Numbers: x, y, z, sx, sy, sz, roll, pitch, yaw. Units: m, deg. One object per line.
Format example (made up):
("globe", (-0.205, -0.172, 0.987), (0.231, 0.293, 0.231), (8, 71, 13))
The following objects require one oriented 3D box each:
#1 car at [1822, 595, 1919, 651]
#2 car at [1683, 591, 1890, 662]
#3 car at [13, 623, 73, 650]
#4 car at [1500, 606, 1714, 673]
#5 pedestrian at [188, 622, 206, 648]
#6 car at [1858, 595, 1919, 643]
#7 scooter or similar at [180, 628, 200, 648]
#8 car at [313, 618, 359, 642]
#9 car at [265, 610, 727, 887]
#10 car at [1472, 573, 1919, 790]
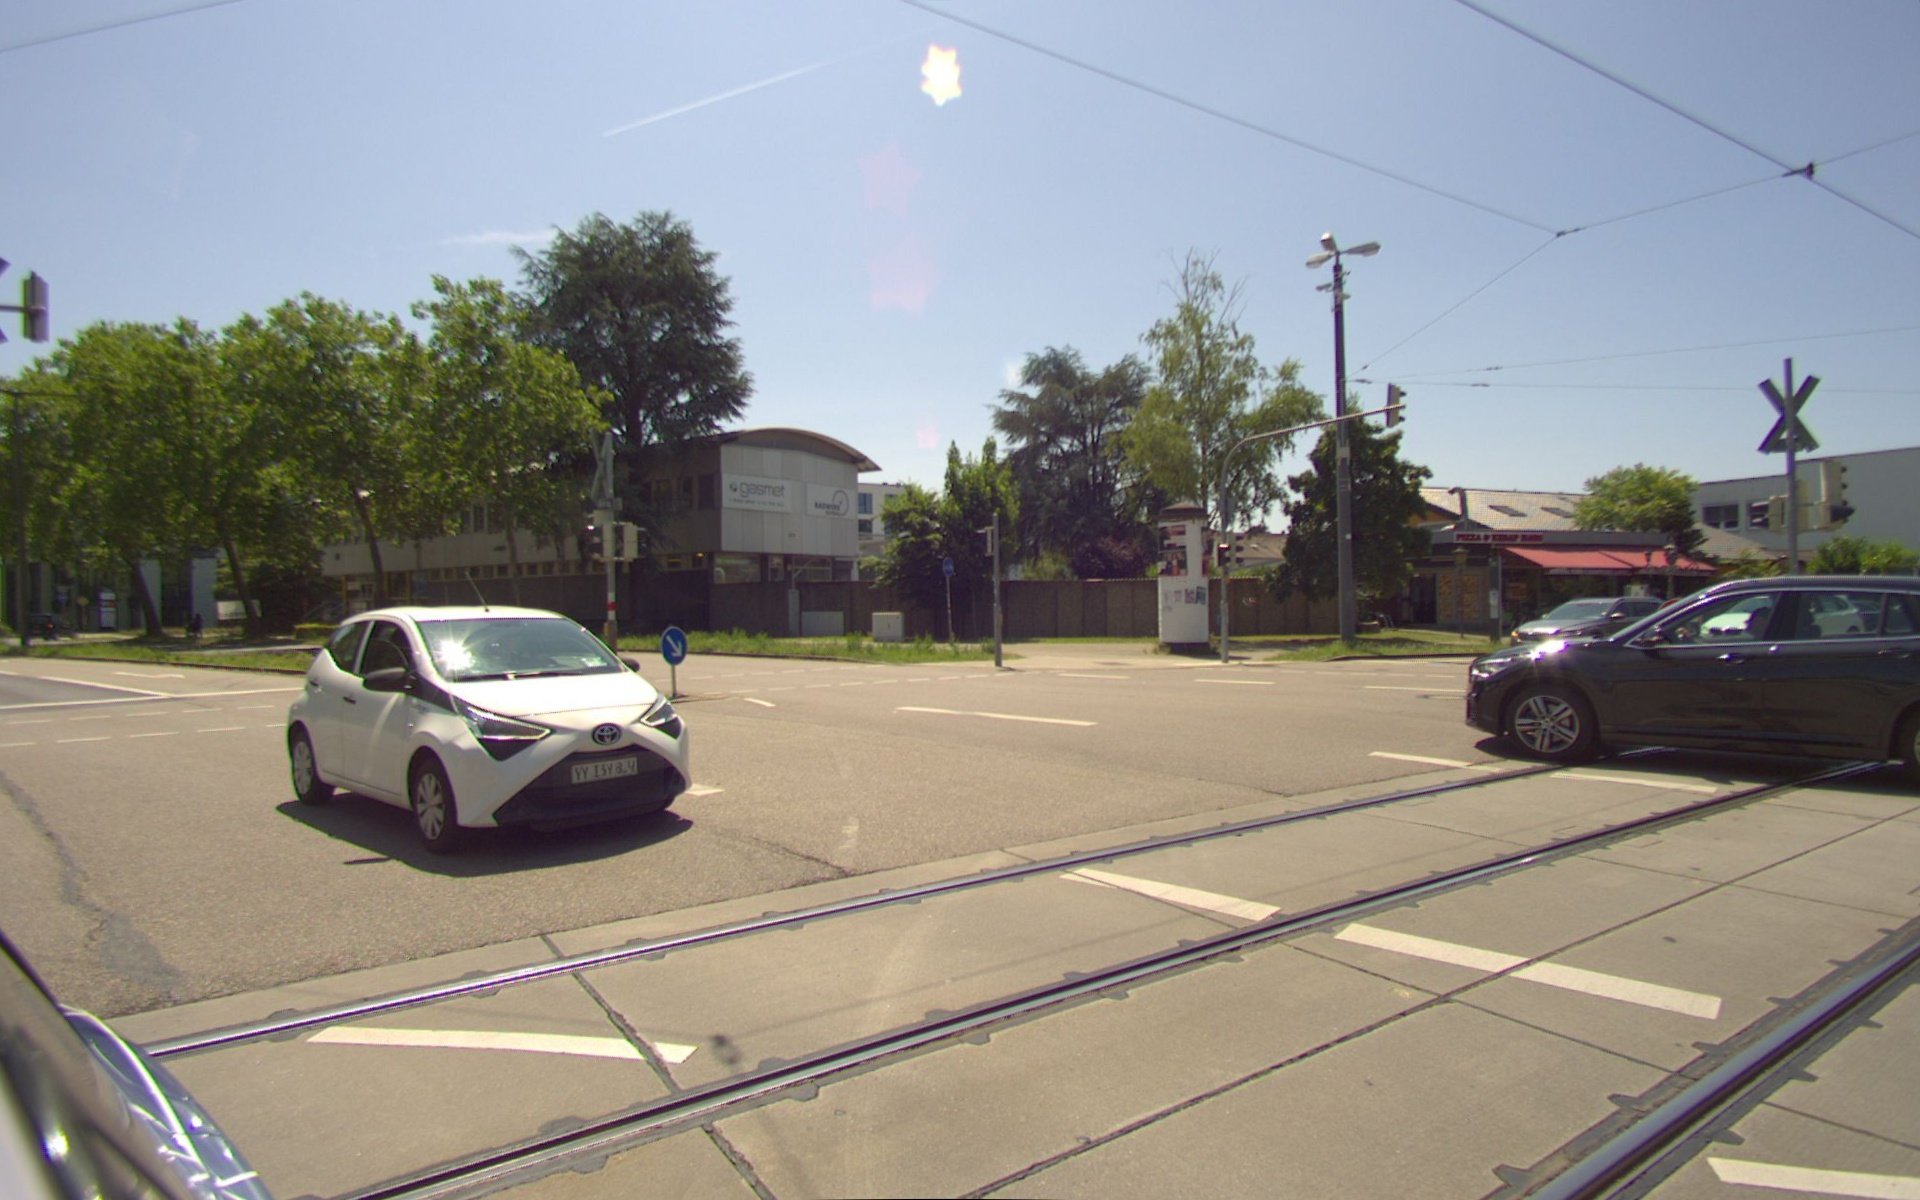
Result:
("car", (28.883, 0.673, 30.315), (4.564, 1.663, 1.761), (-2, -1, 39))
("car", (20.907, 0.636, 25.631), (4.384, 1.617, 2.224), (-1, -1, -23))
("car", (-60.500, 2.388, 66.844), (1.884, 1.692, 4.458), (0, -1, -27))
("car", (15.107, 0.876, 23.639), (4.589, 1.391, 1.894), (0, -1, -22))
("pedestrian", (-46.898, 2.135, 62.184), (0.788, 1.572, 0.637), (-1, -1, 29))
("car", (34.410, 0.658, 35.525), (4.190, 1.663, 1.760), (-1, -1, 40))
("scooter or similar", (-47.627, 2.355, 62.583), (0.855, 1.172, 0.674), (-1, -1, 29))
("car", (-46.603, 2.249, 75.596), (3.522, 1.659, 1.798), (-1, 1, 38))
("car", (-3.429, 0.829, 7.186), (3.649, 1.456, 1.602), (-1, -1, 40))
("car", (6.901, 0.599, 8.470), (4.299, 1.550, 1.888), (-2, -1, 43))
